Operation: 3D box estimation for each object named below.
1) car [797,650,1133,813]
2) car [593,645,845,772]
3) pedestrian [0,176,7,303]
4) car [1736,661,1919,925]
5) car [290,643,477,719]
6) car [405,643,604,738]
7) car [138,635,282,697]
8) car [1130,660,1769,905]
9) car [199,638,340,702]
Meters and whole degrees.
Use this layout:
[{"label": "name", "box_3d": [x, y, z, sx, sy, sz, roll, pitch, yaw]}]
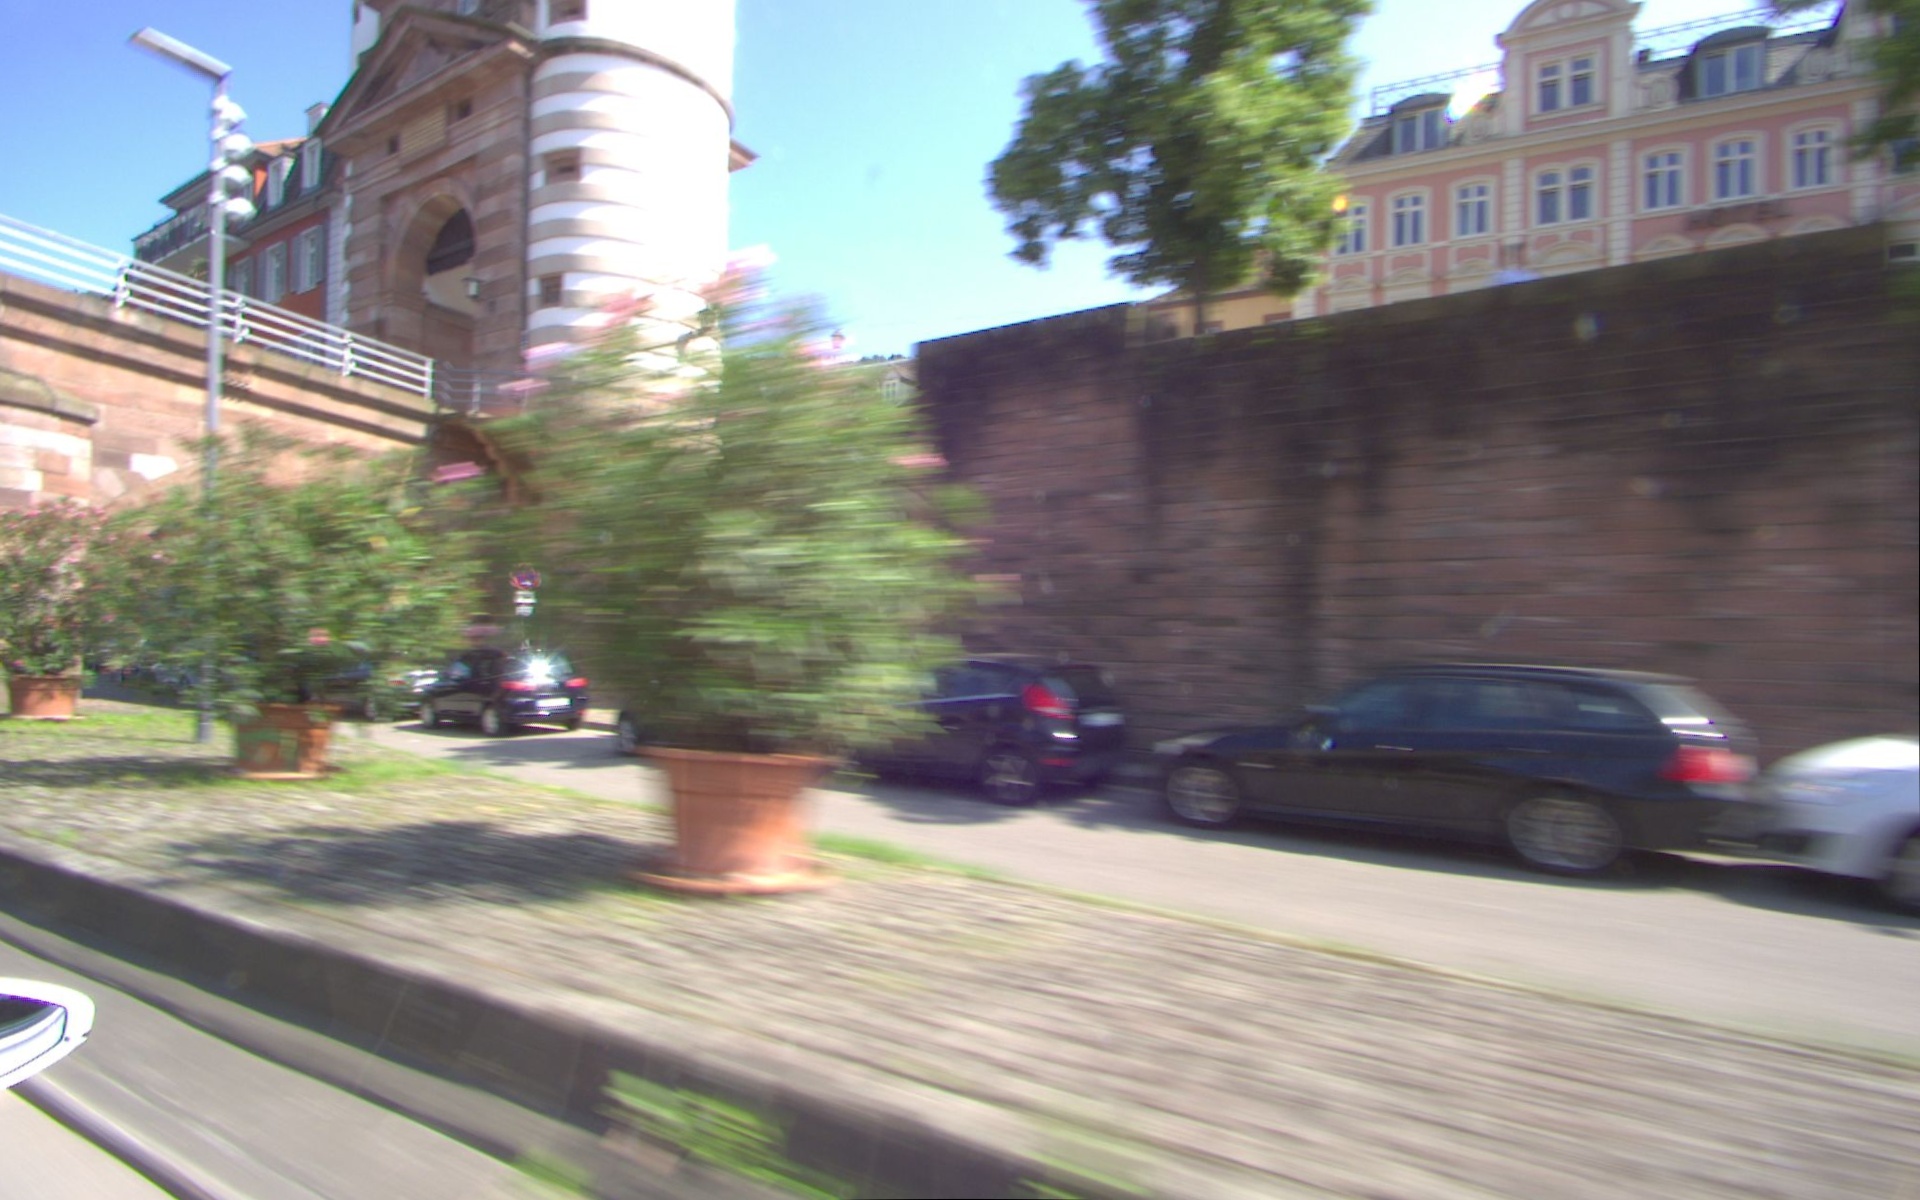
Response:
[{"label": "car", "box_3d": [-0.048, 1.332, 11.189, 3.673, 1.503, 1.489, -2, -3, 40]}, {"label": "car", "box_3d": [-3.489, 1.425, 14.141, 3.861, 1.539, 1.583, -2, -4, 43]}, {"label": "pedestrian", "box_3d": [-16.156, -5.928, 16.392, 0.685, 2.039, 0.622, -1, -2, 33]}, {"label": "car", "box_3d": [6.768, 1.101, 5.751, 3.499, 1.475, 1.708, -2, -4, 34]}, {"label": "car", "box_3d": [-12.387, 1.668, 21.420, 4.433, 1.454, 1.771, -1, -3, 35]}, {"label": "car", "box_3d": [-8.408, 1.565, 18.376, 3.938, 1.521, 1.769, -2, -2, 39]}, {"label": "car", "box_3d": [-20.234, 1.724, 26.976, 4.358, 1.511, 1.888, -1, -2, 36]}, {"label": "car", "box_3d": [3.699, 1.215, 8.098, 4.358, 1.406, 1.703, -3, -3, 41]}, {"label": "car", "box_3d": [-16.952, 1.668, 24.564, 3.518, 1.437, 1.552, -1, -2, 32]}]
